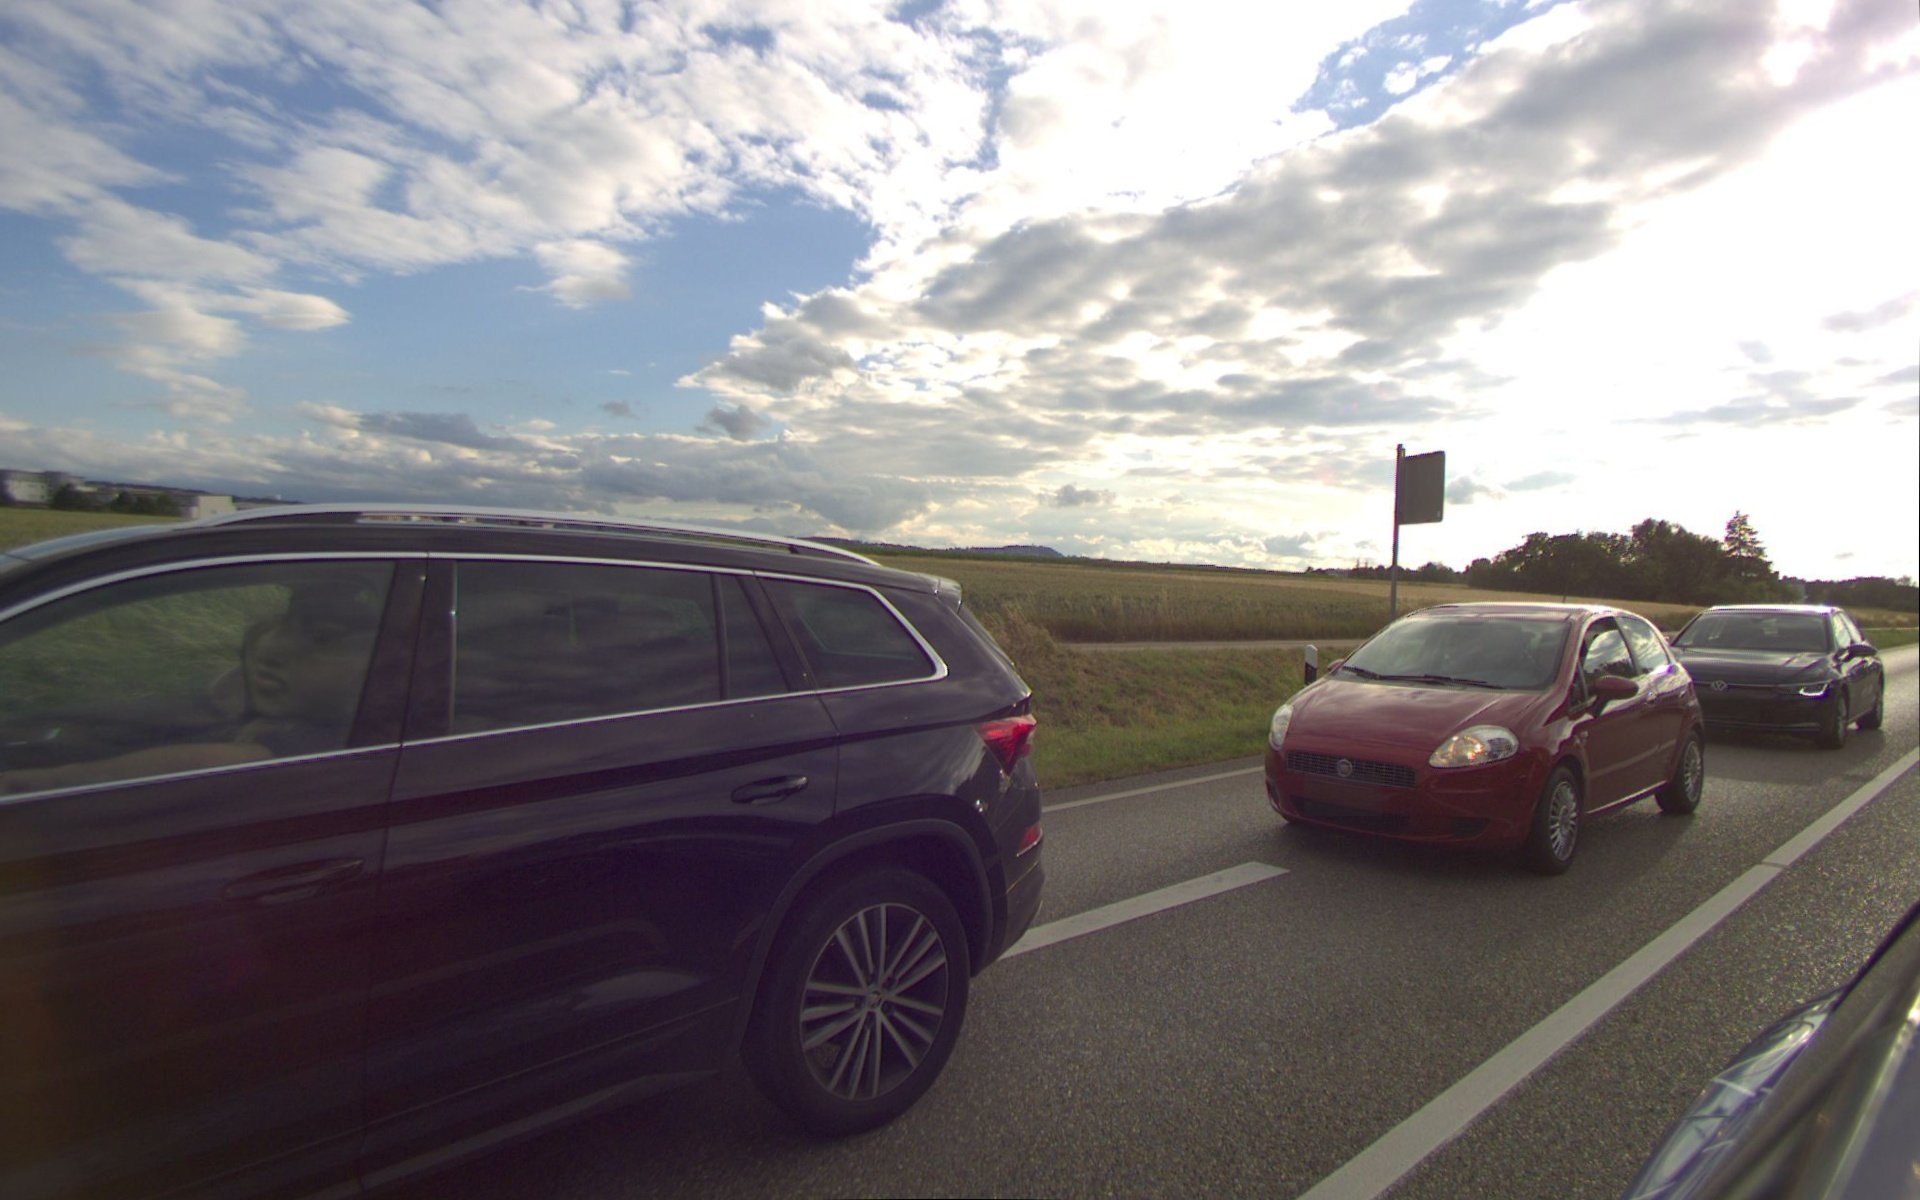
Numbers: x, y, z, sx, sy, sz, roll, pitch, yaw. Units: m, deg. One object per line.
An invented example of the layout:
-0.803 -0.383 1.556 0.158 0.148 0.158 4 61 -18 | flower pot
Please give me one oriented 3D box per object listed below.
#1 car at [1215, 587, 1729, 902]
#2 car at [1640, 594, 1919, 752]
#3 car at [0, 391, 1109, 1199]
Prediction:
3.540 0.668 6.698 3.840 1.475 1.710 -1 0 -41 | car
9.403 0.678 11.500 3.962 1.475 1.797 0 0 -41 | car
-1.801 0.532 2.550 4.477 1.730 1.839 -1 0 -41 | car
